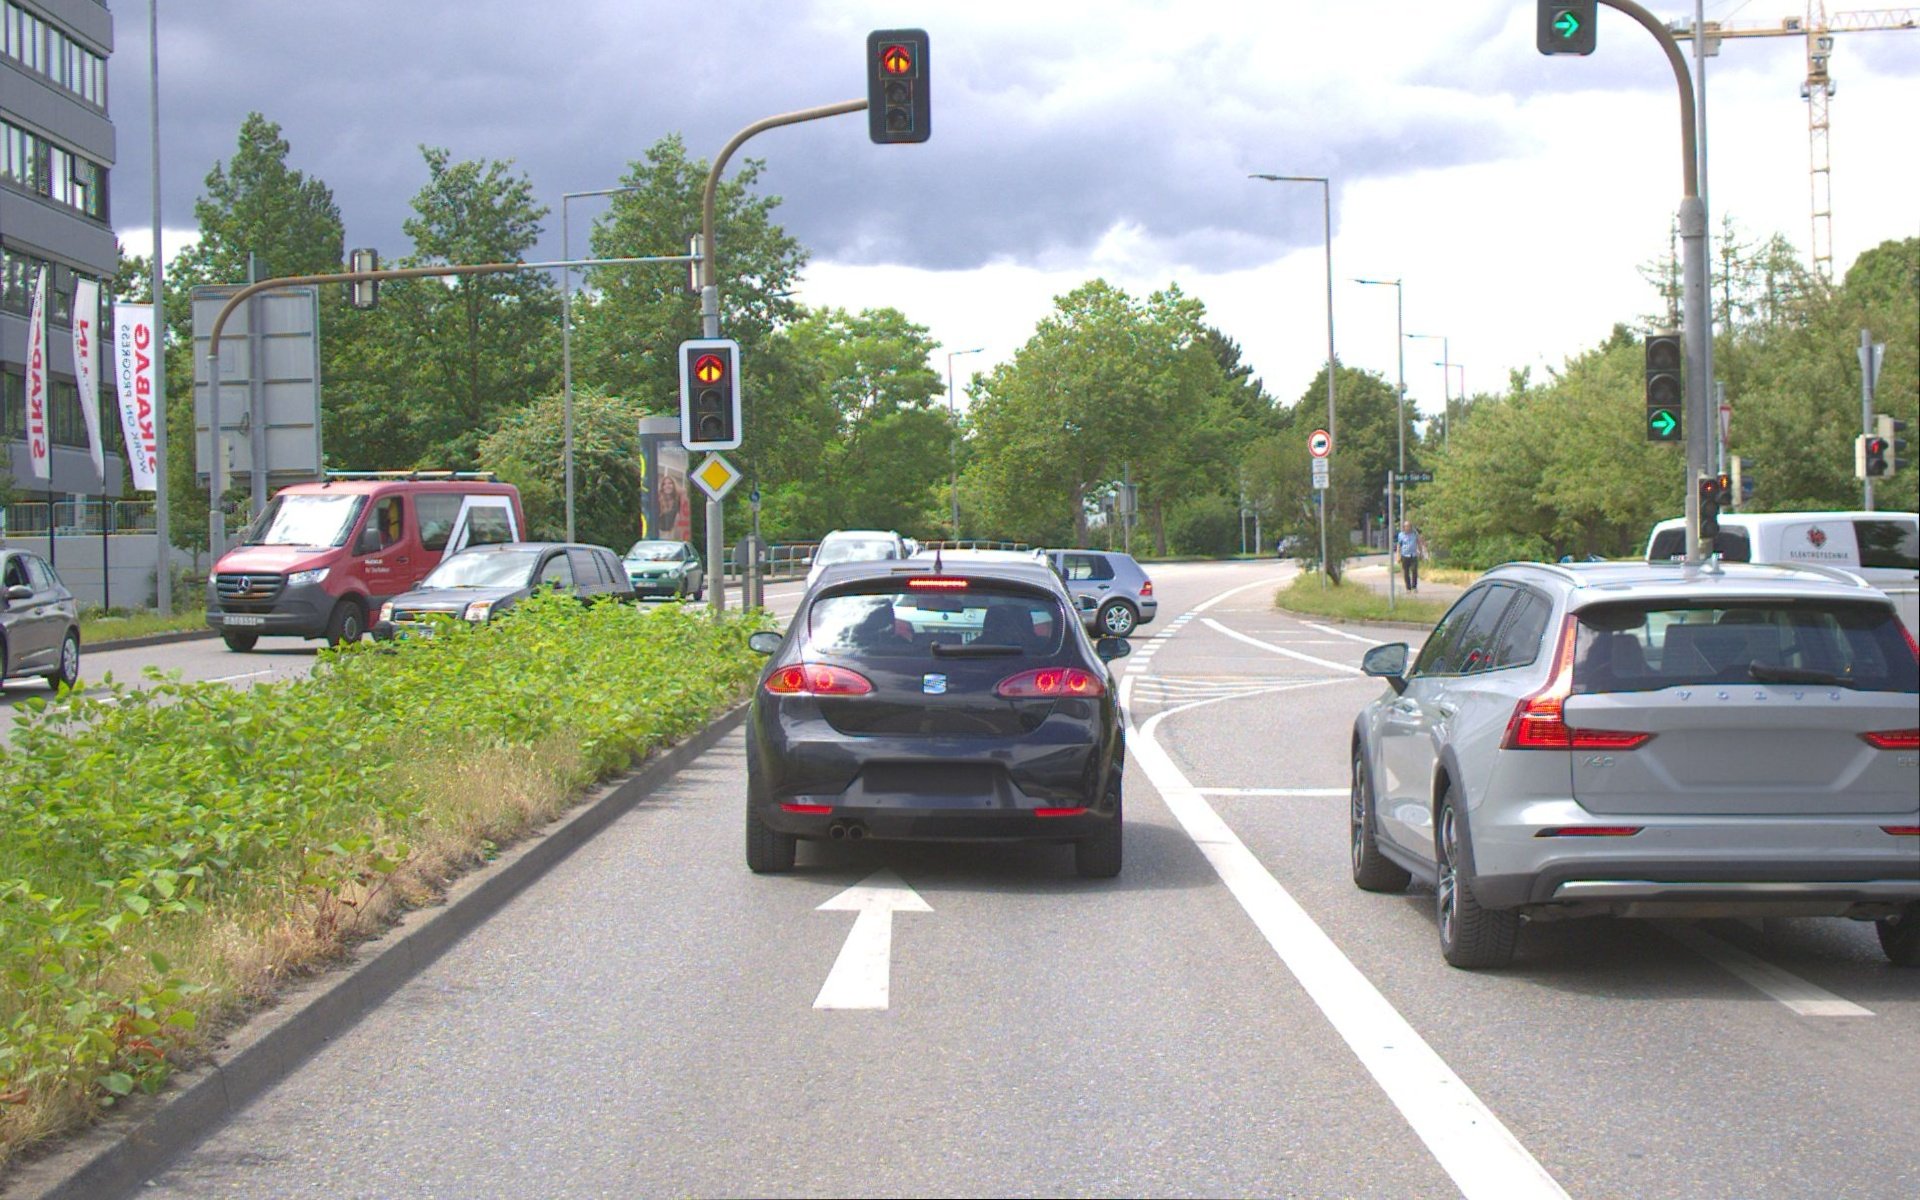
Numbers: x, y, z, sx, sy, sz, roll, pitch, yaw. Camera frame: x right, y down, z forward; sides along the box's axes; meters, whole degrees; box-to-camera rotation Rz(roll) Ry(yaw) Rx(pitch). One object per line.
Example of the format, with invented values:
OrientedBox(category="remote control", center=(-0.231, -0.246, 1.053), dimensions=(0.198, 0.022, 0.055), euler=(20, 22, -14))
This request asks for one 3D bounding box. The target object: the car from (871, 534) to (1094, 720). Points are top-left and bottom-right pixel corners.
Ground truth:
OrientedBox(category="car", center=(0.135, 0.188, 29.936), dimensions=(1.773, 1.486, 3.583), euler=(-1, 1, -2))

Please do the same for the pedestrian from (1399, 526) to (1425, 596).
OrientedBox(category="pedestrian", center=(11.234, -0.965, 85.367), dimensions=(0.559, 1.720, 0.588), euler=(1, 1, 1))

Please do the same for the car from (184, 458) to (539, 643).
OrientedBox(category="car", center=(-8.127, -0.687, 47.265), dimensions=(1.996, 2.404, 5.233), euler=(0, 1, 28))

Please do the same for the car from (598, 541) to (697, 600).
OrientedBox(category="car", center=(-7.431, -0.719, 82.061), dimensions=(1.993, 1.347, 4.000), euler=(0, 1, 0))

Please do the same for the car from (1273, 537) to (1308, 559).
OrientedBox(category="car", center=(20.542, -3.250, 213.603), dimensions=(1.994, 1.347, 3.999), euler=(0, 1, 8))

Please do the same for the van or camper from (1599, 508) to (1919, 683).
OrientedBox(category="van or camper", center=(9.716, -0.096, 38.828), dimensions=(4.928, 1.853, 2.000), euler=(-1, 1, -34))

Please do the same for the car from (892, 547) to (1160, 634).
OrientedBox(category="car", center=(1.056, -0.170, 55.892), dimensions=(3.986, 1.349, 2.001), euler=(-1, 1, -13))

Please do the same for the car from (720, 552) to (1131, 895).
OrientedBox(category="car", center=(-0.142, 0.511, 16.744), dimensions=(1.773, 1.447, 3.582), euler=(1, 1, 0))

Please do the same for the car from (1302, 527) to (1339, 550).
OrientedBox(category="car", center=(20.876, -3.566, 199.062), dimensions=(1.994, 1.347, 3.999), euler=(0, 1, 8))

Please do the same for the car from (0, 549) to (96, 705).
OrientedBox(category="car", center=(-9.681, 0.222, 32.693), dimensions=(1.932, 1.393, 4.000), euler=(0, 1, 0))

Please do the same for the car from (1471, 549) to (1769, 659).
OrientedBox(category="car", center=(9.413, 0.044, 49.293), dimensions=(3.987, 1.511, 1.941), euler=(0, 1, 4))

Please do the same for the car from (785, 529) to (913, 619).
OrientedBox(category="car", center=(-2.000, -0.498, 63.054), dimensions=(1.994, 1.590, 4.000), euler=(0, 1, 3))

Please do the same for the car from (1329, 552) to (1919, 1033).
OrientedBox(category="car", center=(2.570, 0.603, 13.491), dimensions=(1.863, 1.513, 4.446), euler=(-1, 1, 2))

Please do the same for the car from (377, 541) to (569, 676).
OrientedBox(category="car", center=(-5.628, 0.062, 40.100), dimensions=(1.678, 1.477, 4.000), euler=(0, 1, 0))

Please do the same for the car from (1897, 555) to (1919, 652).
OrientedBox(category="car", center=(17.340, 0.039, 55.535), dimensions=(3.988, 1.525, 2.000), euler=(0, 1, 7))
